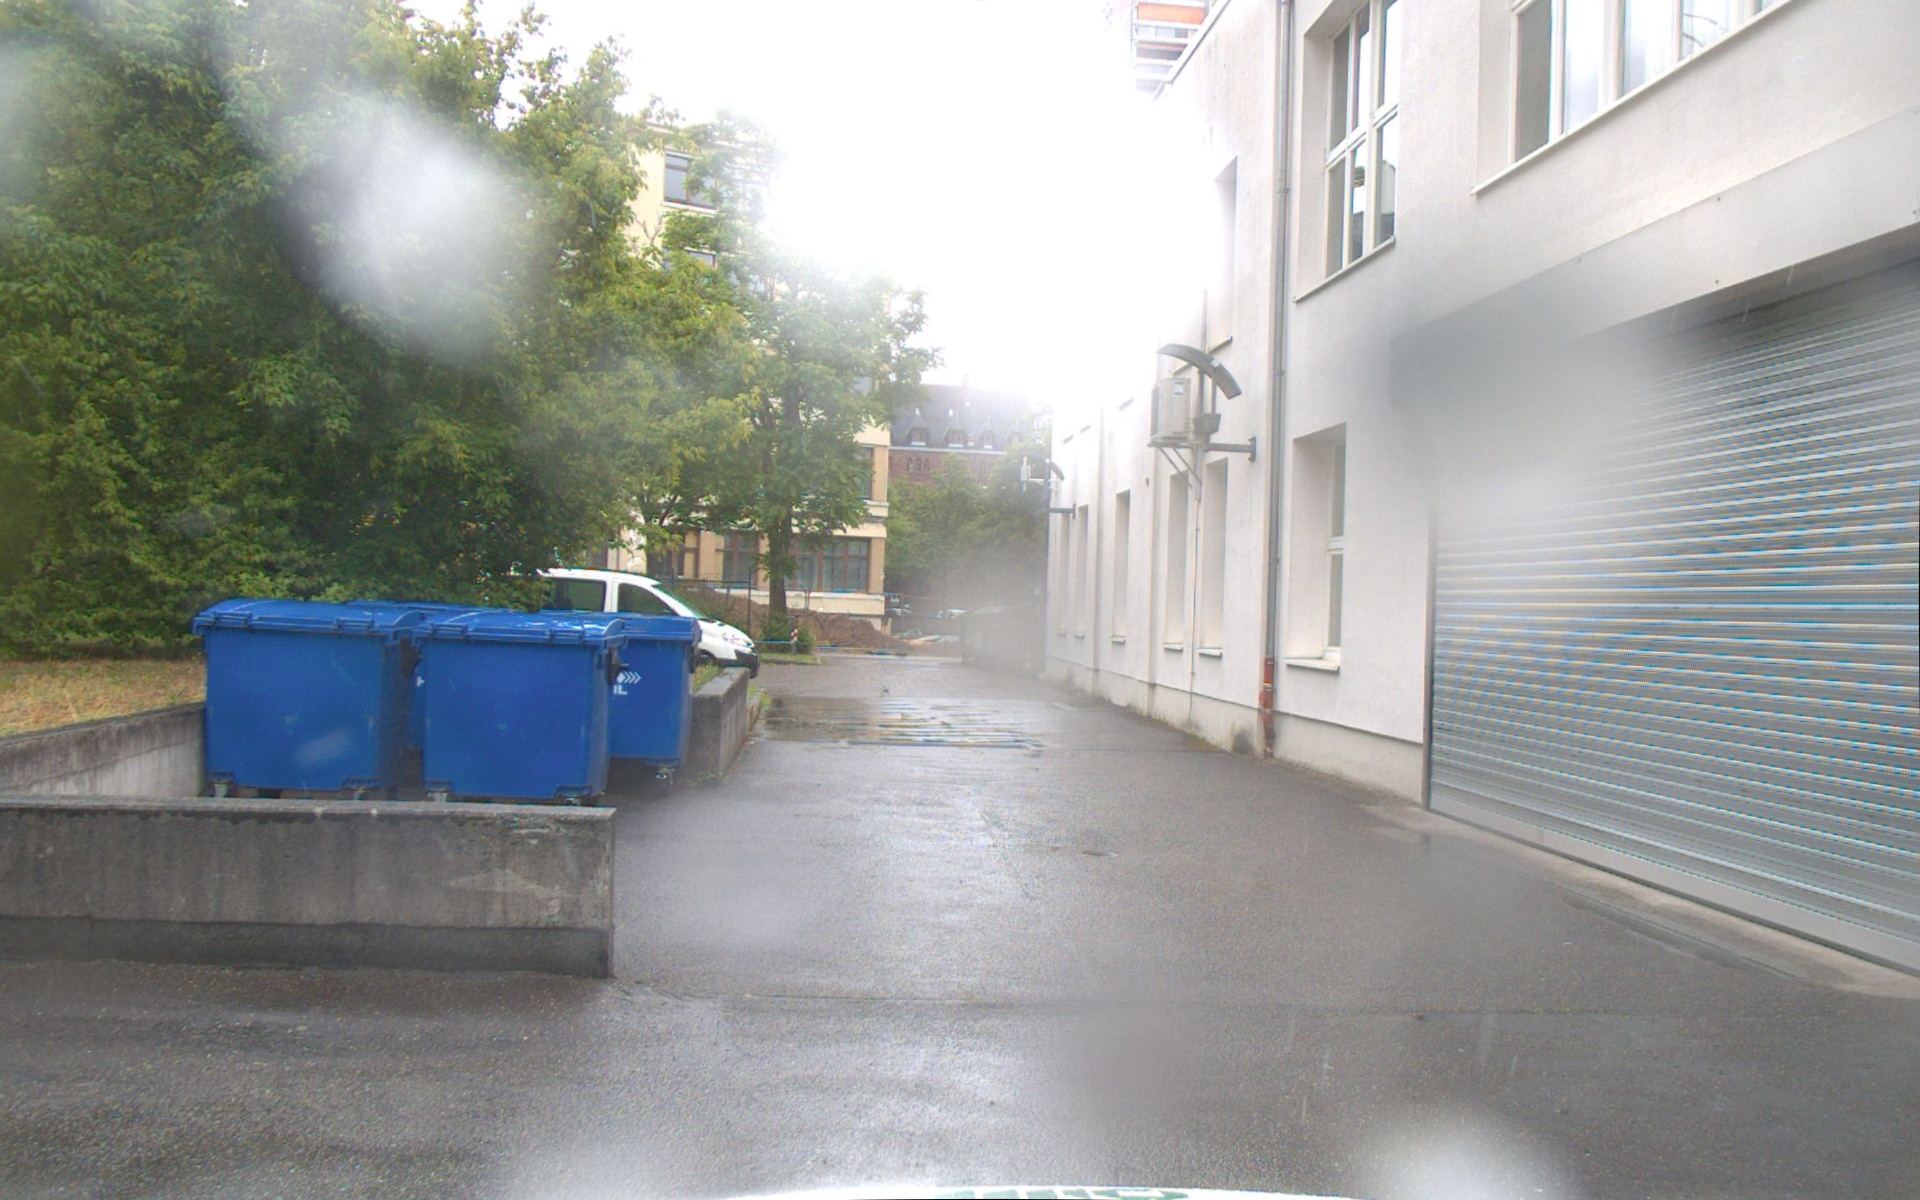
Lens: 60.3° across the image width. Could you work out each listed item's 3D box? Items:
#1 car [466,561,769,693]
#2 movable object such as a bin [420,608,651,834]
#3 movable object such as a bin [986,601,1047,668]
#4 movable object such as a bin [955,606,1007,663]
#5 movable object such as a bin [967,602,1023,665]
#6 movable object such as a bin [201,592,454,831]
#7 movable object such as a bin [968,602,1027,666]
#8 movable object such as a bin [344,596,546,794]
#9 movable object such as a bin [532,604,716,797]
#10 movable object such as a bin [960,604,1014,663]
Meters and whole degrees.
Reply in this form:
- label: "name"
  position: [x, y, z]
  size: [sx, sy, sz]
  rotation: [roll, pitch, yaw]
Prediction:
- label: "car"
  position: [-5.612, 0.436, 27.631]
  size: [4.686, 2.049, 1.998]
  rotation: [1, 0, -4]
- label: "movable object such as a bin"
  position: [-2.717, 0.750, 10.739]
  size: [1.178, 1.360, 1.116]
  rotation: [2, -1, -1]
- label: "movable object such as a bin"
  position: [1.280, 0.800, 37.665]
  size: [1.191, 1.462, 1.234]
  rotation: [2, -3, -7]
- label: "movable object such as a bin"
  position: [0.539, 0.919, 43.693]
  size: [1.191, 1.462, 1.257]
  rotation: [2, -3, -7]
- label: "movable object such as a bin"
  position: [0.869, 0.848, 40.961]
  size: [1.191, 1.494, 1.234]
  rotation: [2, -3, -7]
- label: "movable object such as a bin"
  position: [-4.007, 0.680, 10.596]
  size: [1.179, 1.360, 1.116]
  rotation: [3, 1, -5]
- label: "movable object such as a bin"
  position: [0.881, 0.820, 39.322]
  size: [1.191, 1.462, 1.292]
  rotation: [2, -3, -7]
- label: "movable object such as a bin"
  position: [-3.787, 0.676, 12.263]
  size: [1.197, 1.360, 1.006]
  rotation: [2, 1, -5]
- label: "movable object such as a bin"
  position: [-2.500, 0.731, 12.462]
  size: [1.197, 1.360, 1.005]
  rotation: [2, 0, -5]
- label: "movable object such as a bin"
  position: [0.685, 0.865, 42.324]
  size: [1.191, 1.462, 1.257]
  rotation: [2, -3, -7]
